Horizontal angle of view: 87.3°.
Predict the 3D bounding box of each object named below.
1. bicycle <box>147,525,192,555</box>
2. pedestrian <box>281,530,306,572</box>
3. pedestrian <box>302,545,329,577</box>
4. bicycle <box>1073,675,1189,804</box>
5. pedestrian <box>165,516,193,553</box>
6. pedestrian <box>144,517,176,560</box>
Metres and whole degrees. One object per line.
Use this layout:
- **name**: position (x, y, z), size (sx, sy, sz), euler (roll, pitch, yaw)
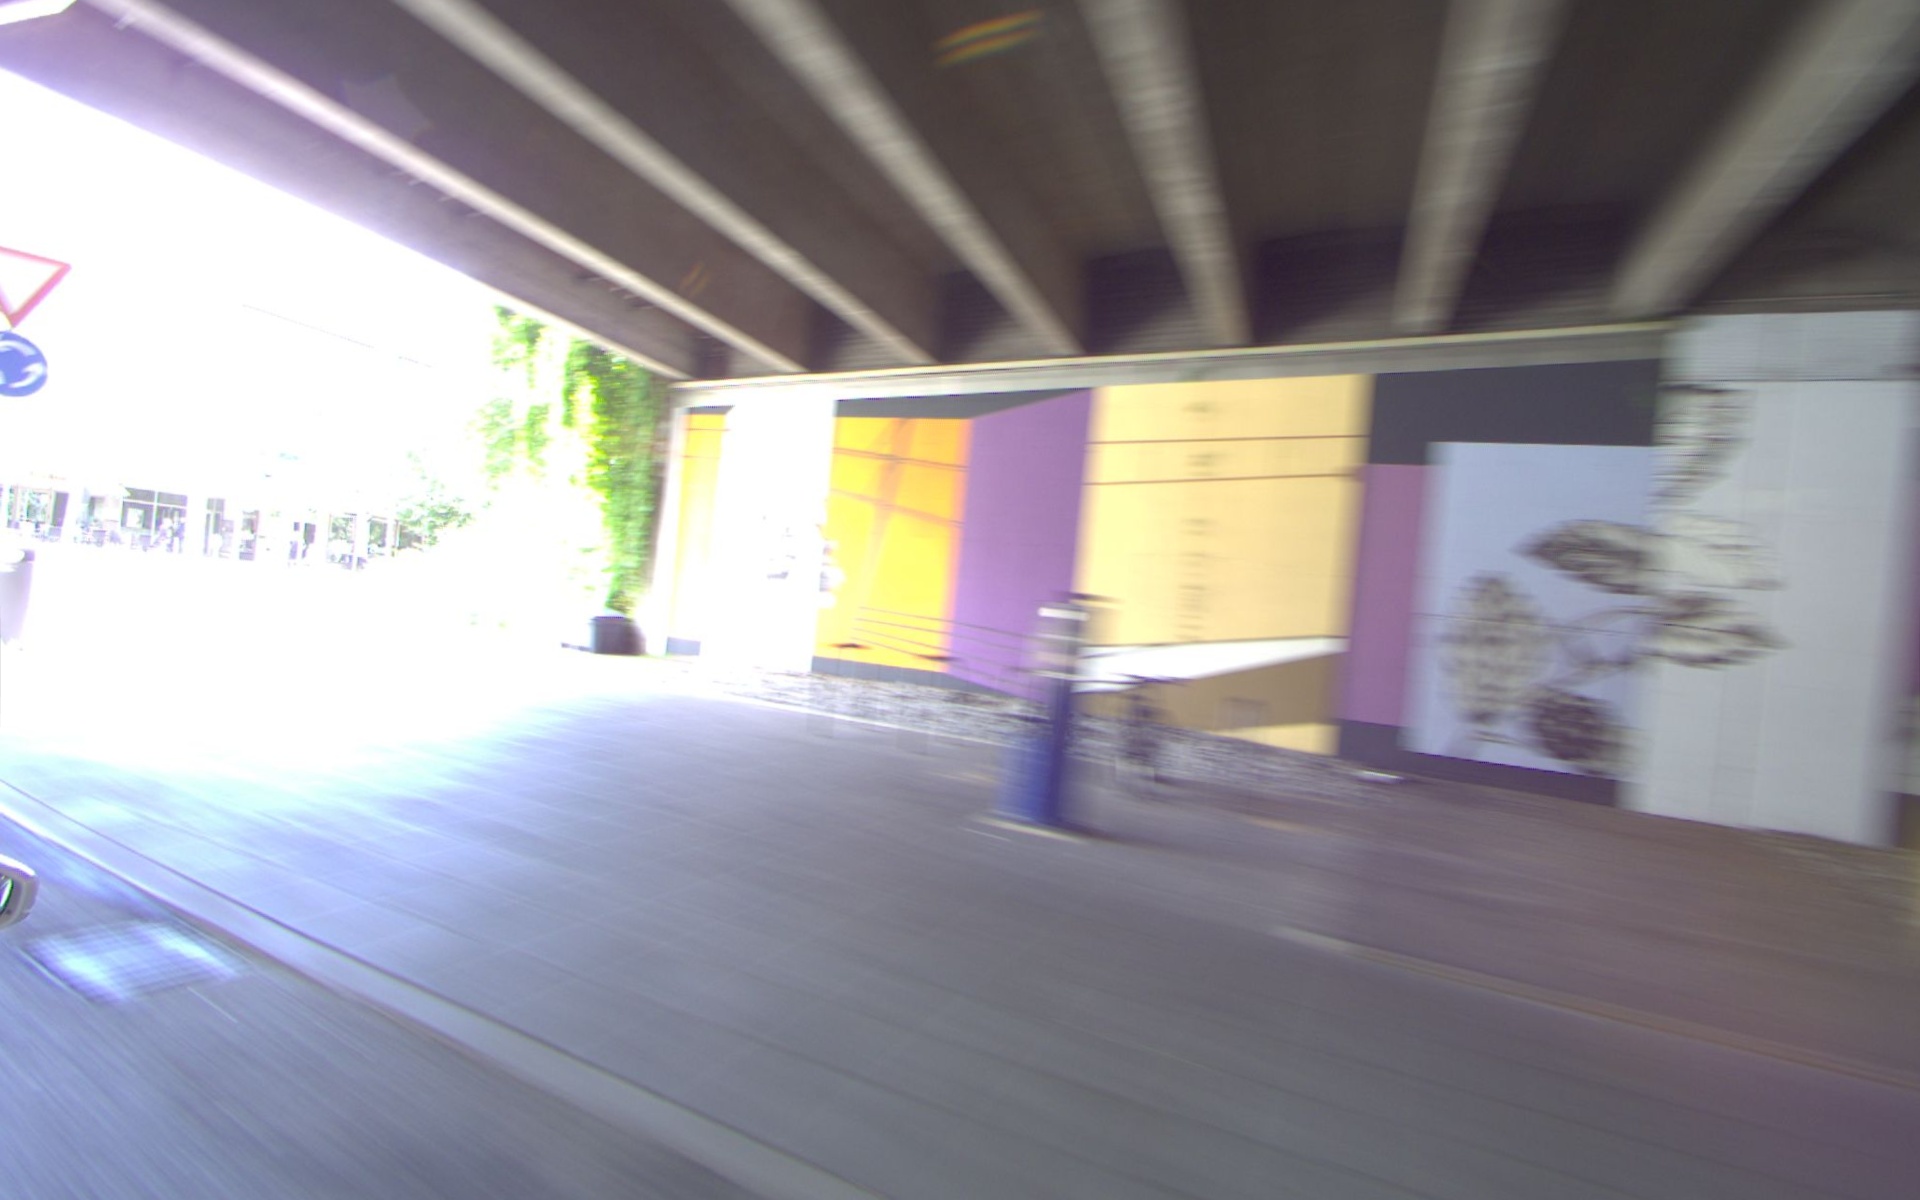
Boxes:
- **bicycle**: position (-38.186, -2.891, 48.593), size (1.526, 1.181, 0.492), euler (8, -2, -30)
- **pedestrian**: position (-30.549, -2.258, 46.123), size (0.685, 1.844, 0.616), euler (7, 4, 22)
- **pedestrian**: position (-28.421, -1.730, 44.358), size (0.686, 1.300, 0.616), euler (7, 0, 29)
- **bicycle**: position (1.568, 1.180, 8.946), size (0.497, 0.916, 1.950), euler (6, 0, 23)
- **pedestrian**: position (-37.842, -3.165, 48.770), size (0.606, 1.694, 0.698), euler (7, 0, 16)
- **pedestrian**: position (-33.990, -2.596, 42.731), size (0.606, 1.694, 0.698), euler (7, 0, 4)
